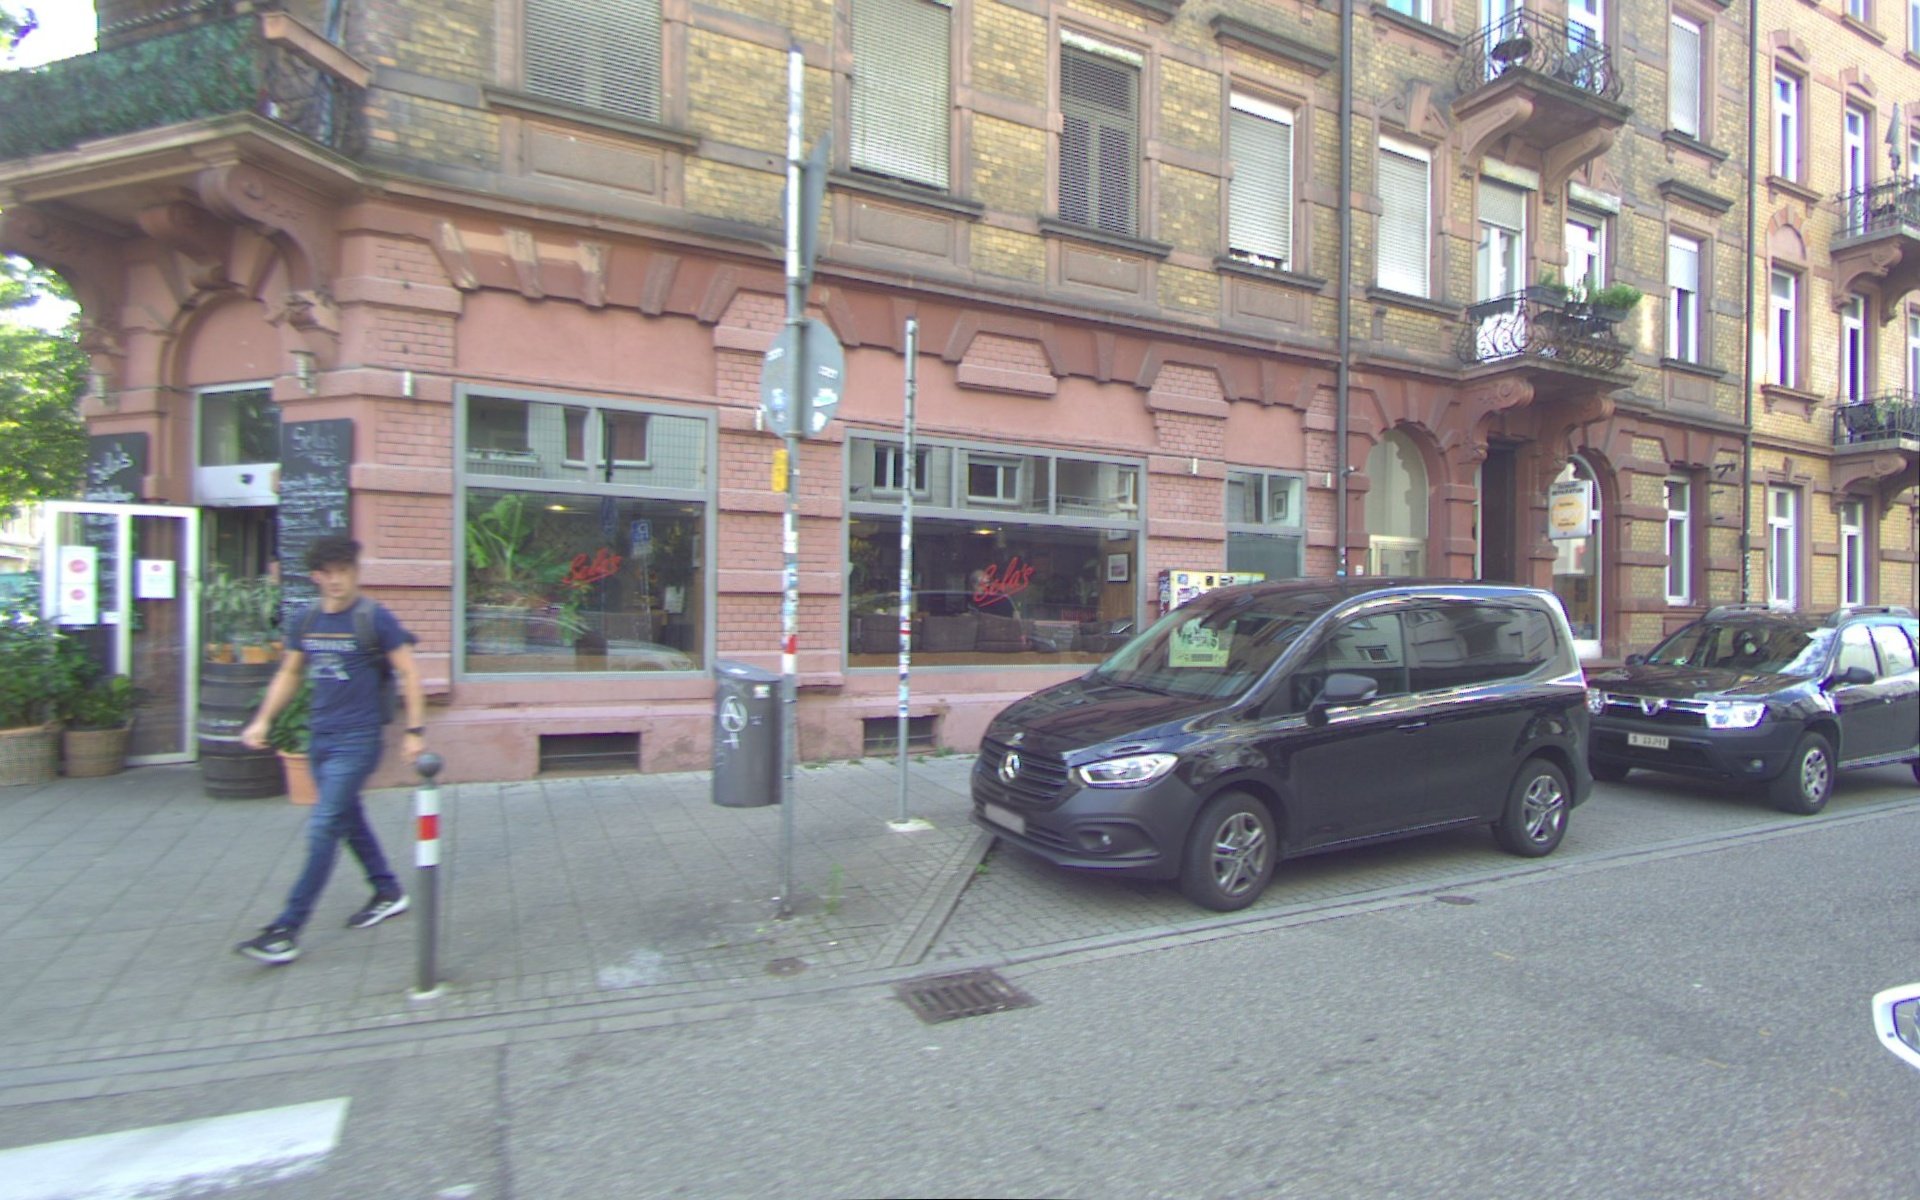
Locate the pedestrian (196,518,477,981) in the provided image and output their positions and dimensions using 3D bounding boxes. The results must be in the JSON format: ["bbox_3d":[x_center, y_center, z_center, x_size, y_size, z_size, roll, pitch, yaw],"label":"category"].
[{"bbox_3d":[-2.797,0.589,4.558,0.665,1.865,0.857,2,2,24],"label":"pedestrian"}]

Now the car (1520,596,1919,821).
[{"bbox_3d":[7.461,0.835,9.400,4.094,1.660,1.985,1,1,-28],"label":"car"}]

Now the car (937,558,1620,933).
[{"bbox_3d":[2.182,0.708,6.613,4.351,1.797,1.752,1,1,-29],"label":"car"}]

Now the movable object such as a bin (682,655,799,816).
[{"bbox_3d":[-1.096,0.652,5.000,0.470,0.724,0.381,0,1,-31],"label":"movable object such as a bin"}]

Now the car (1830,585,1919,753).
[{"bbox_3d":[12.826,0.799,12.234,4.381,1.896,1.912,1,0,-28],"label":"car"}]

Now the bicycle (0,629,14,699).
[{"bbox_3d":[-14.203,0.950,14.341,0.585,1.025,2.059,-1,0,-31],"label":"bicycle"}]
